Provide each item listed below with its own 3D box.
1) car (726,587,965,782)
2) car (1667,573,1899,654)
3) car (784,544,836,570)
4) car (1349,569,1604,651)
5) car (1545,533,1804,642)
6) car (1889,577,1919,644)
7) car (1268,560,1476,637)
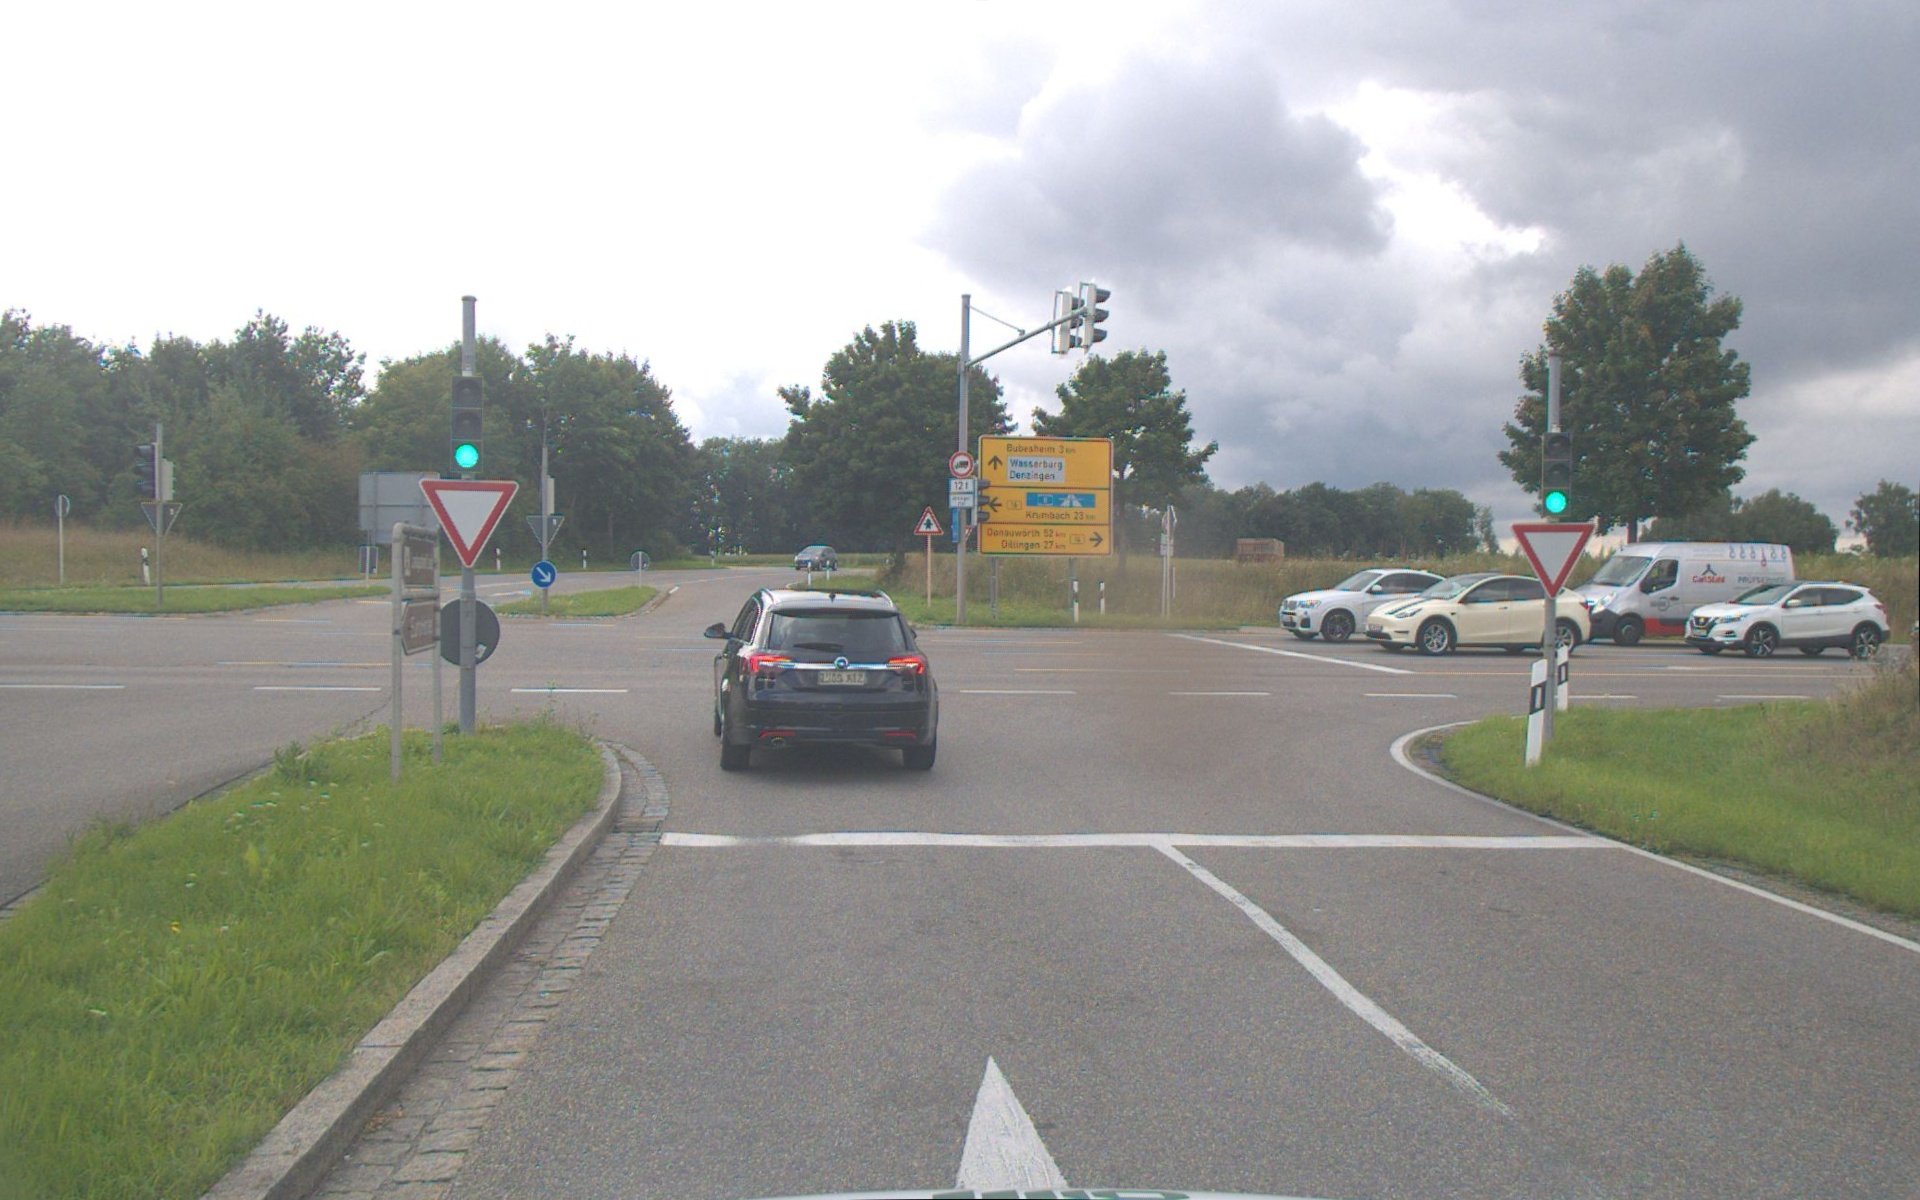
[{"bbox_3d":[-1.166,0.636,14.814,1.774,1.476,4.264,1,0,-9],"label":"car"},{"bbox_3d":[17.878,0.282,35.996,4.234,1.658,1.993,1,0,-13],"label":"car"},{"bbox_3d":[-9.417,-2.681,103.975,1.951,1.562,4.003,1,1,15],"label":"car"},{"bbox_3d":[10.607,0.204,34.058,4.652,1.592,1.993,1,0,-14],"label":"car"},{"bbox_3d":[17.243,-0.289,40.023,5.399,2.484,2.391,1,0,-13],"label":"car"},{"bbox_3d":[25.699,0.284,41.223,4.187,1.657,1.993,1,0,-13],"label":"car"},{"bbox_3d":[9.388,-0.037,37.783,4.188,1.657,1.993,1,0,-14],"label":"car"}]
